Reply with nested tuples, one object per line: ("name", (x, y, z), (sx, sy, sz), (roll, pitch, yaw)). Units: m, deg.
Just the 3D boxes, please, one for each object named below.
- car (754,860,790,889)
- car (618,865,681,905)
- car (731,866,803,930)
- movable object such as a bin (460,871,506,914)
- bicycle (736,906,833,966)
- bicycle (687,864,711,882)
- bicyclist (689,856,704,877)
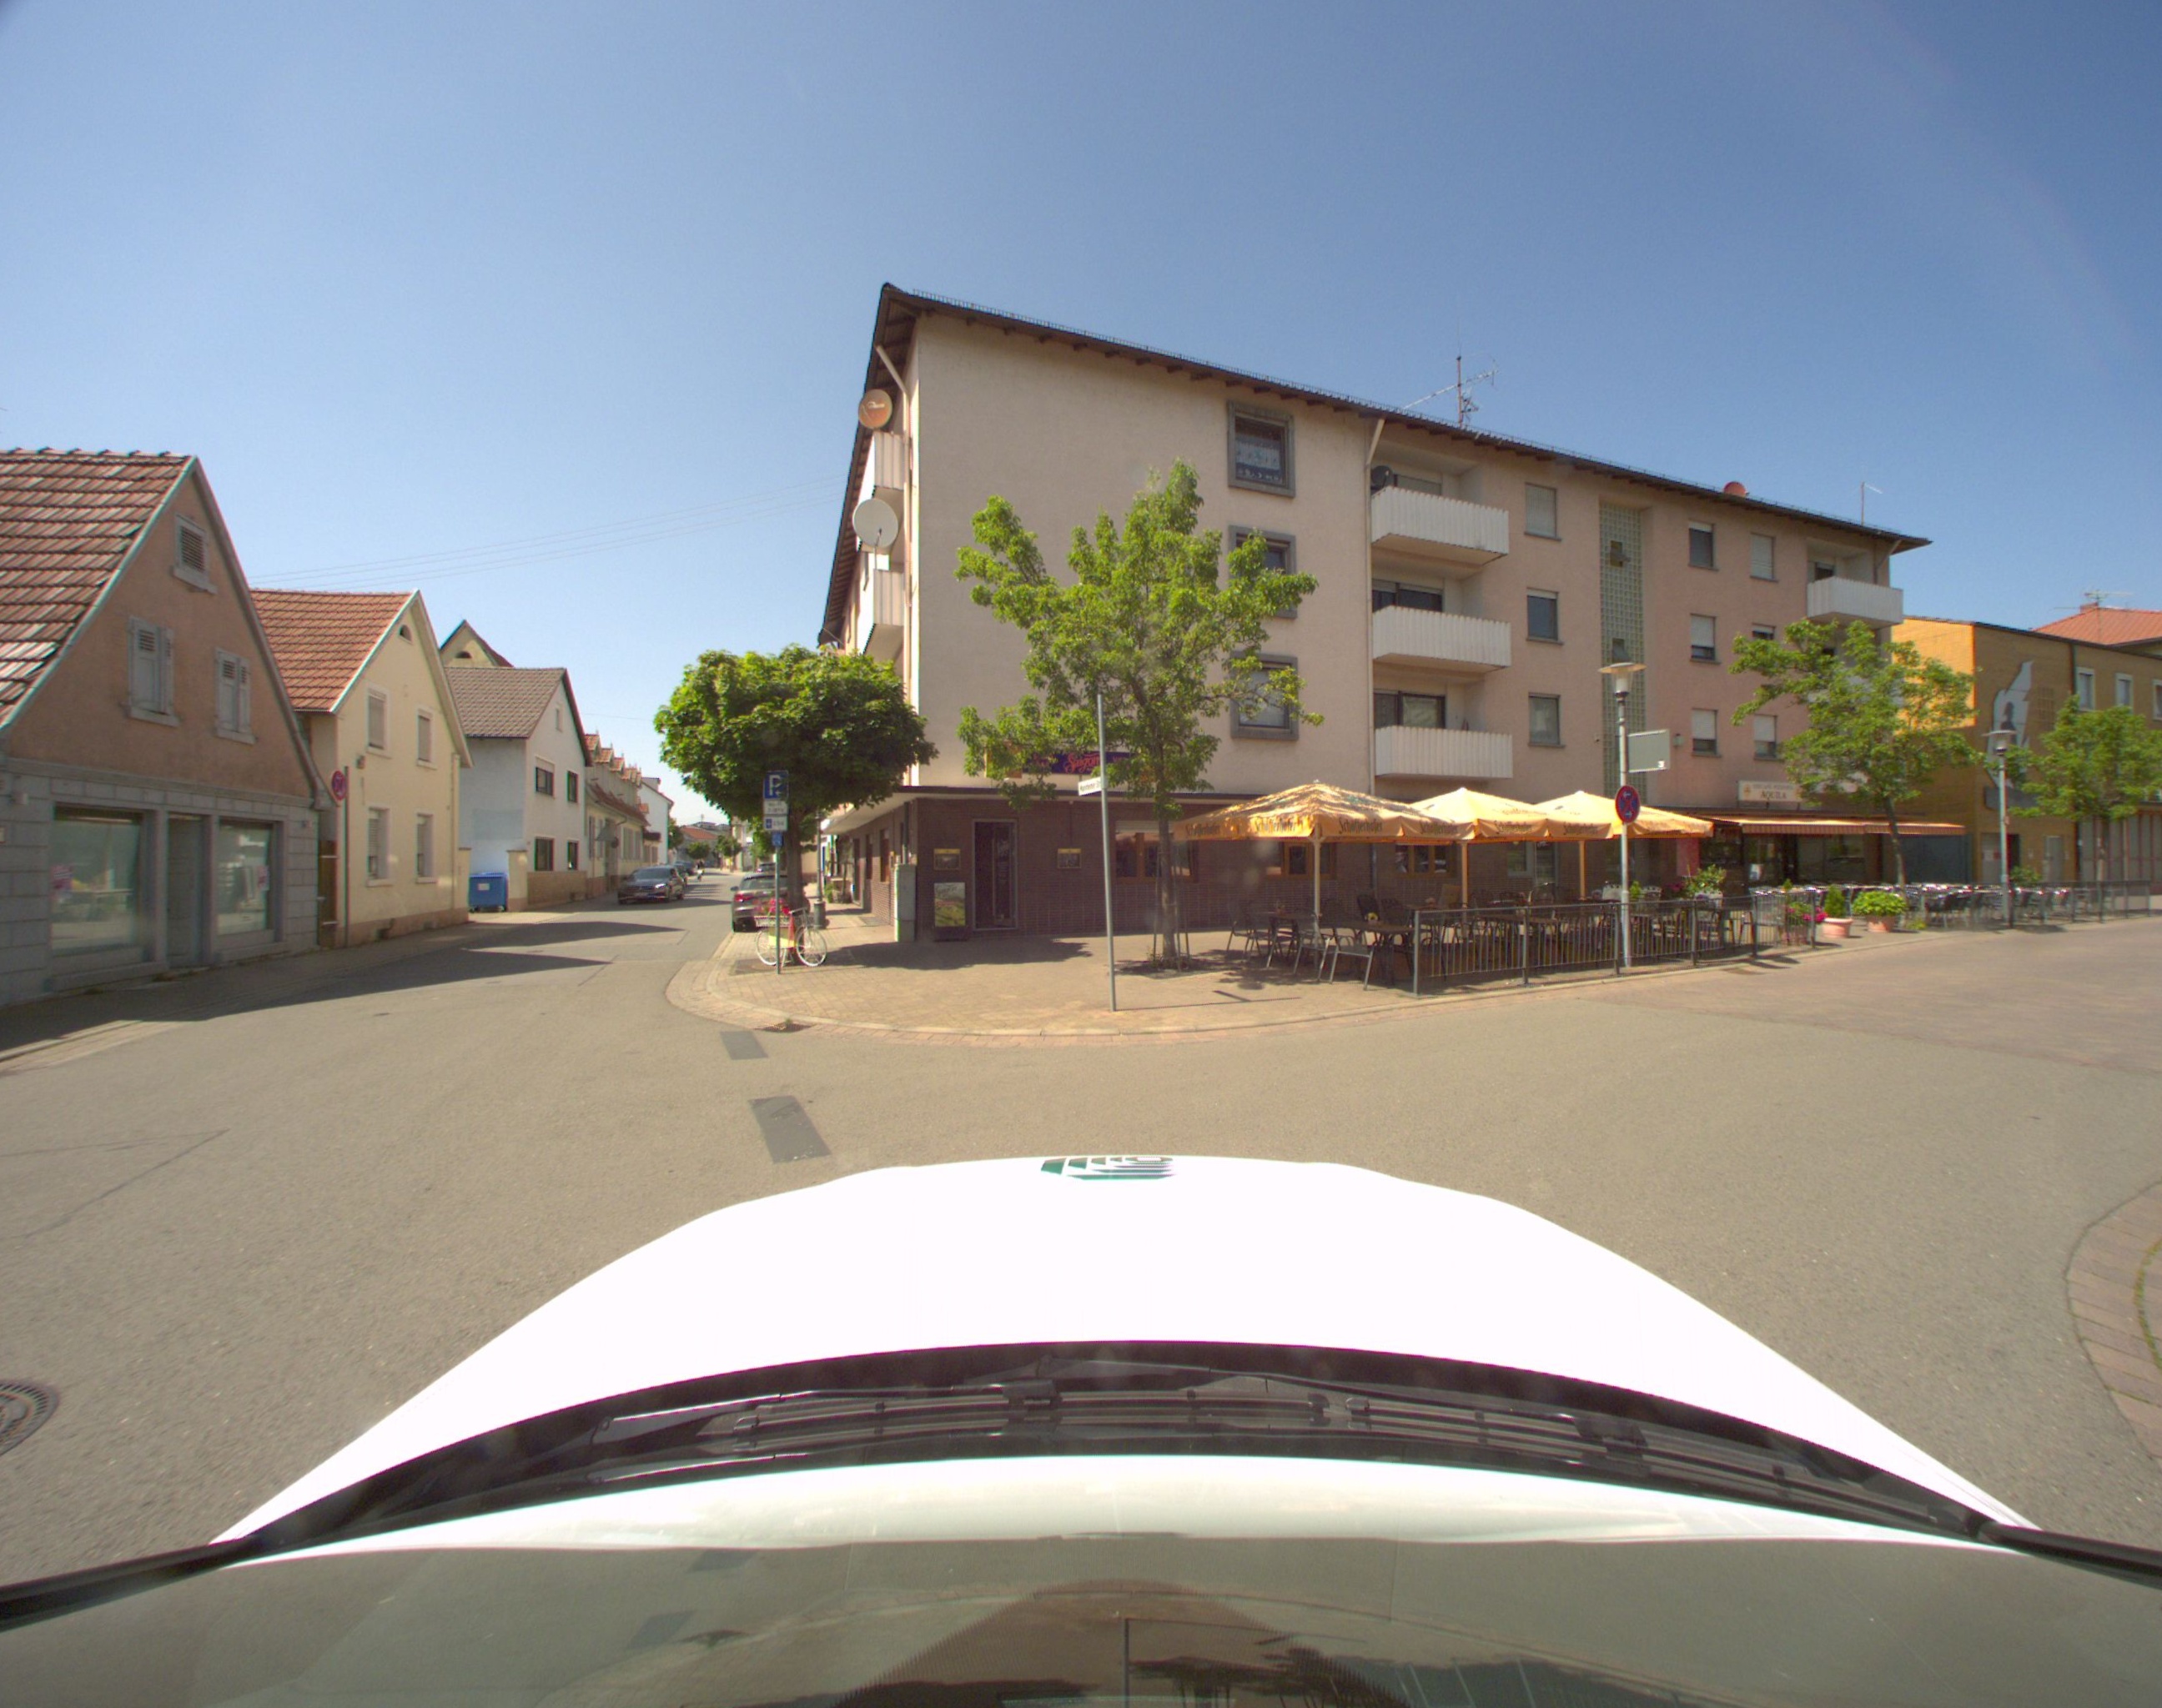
("car", (-19.876, 1.278, 52.362), (2.051, 1.689, 4.807), (-1, 0, -21))
("car", (-17.811, 1.303, 33.808), (1.917, 1.481, 4.806), (-1, -2, -23))
("car", (-7.984, 1.052, 20.905), (1.581, 1.454, 3.463), (-1, 0, -19))
("movable object such as a bin", (-19.499, 1.247, 26.571), (1.104, 1.365, 0.387), (-1, -1, -18))
("bicycle", (-4.724, 1.302, 12.981), (1.399, 0.897, 0.467), (-2, 0, 15))
("bicycle", (-31.325, 1.560, 66.732), (1.633, 1.370, 3.891), (-1, 0, -27))
("bicyclist", (-31.387, 1.005, 66.410), (1.052, 1.637, 1.118), (-1, 0, -27))
